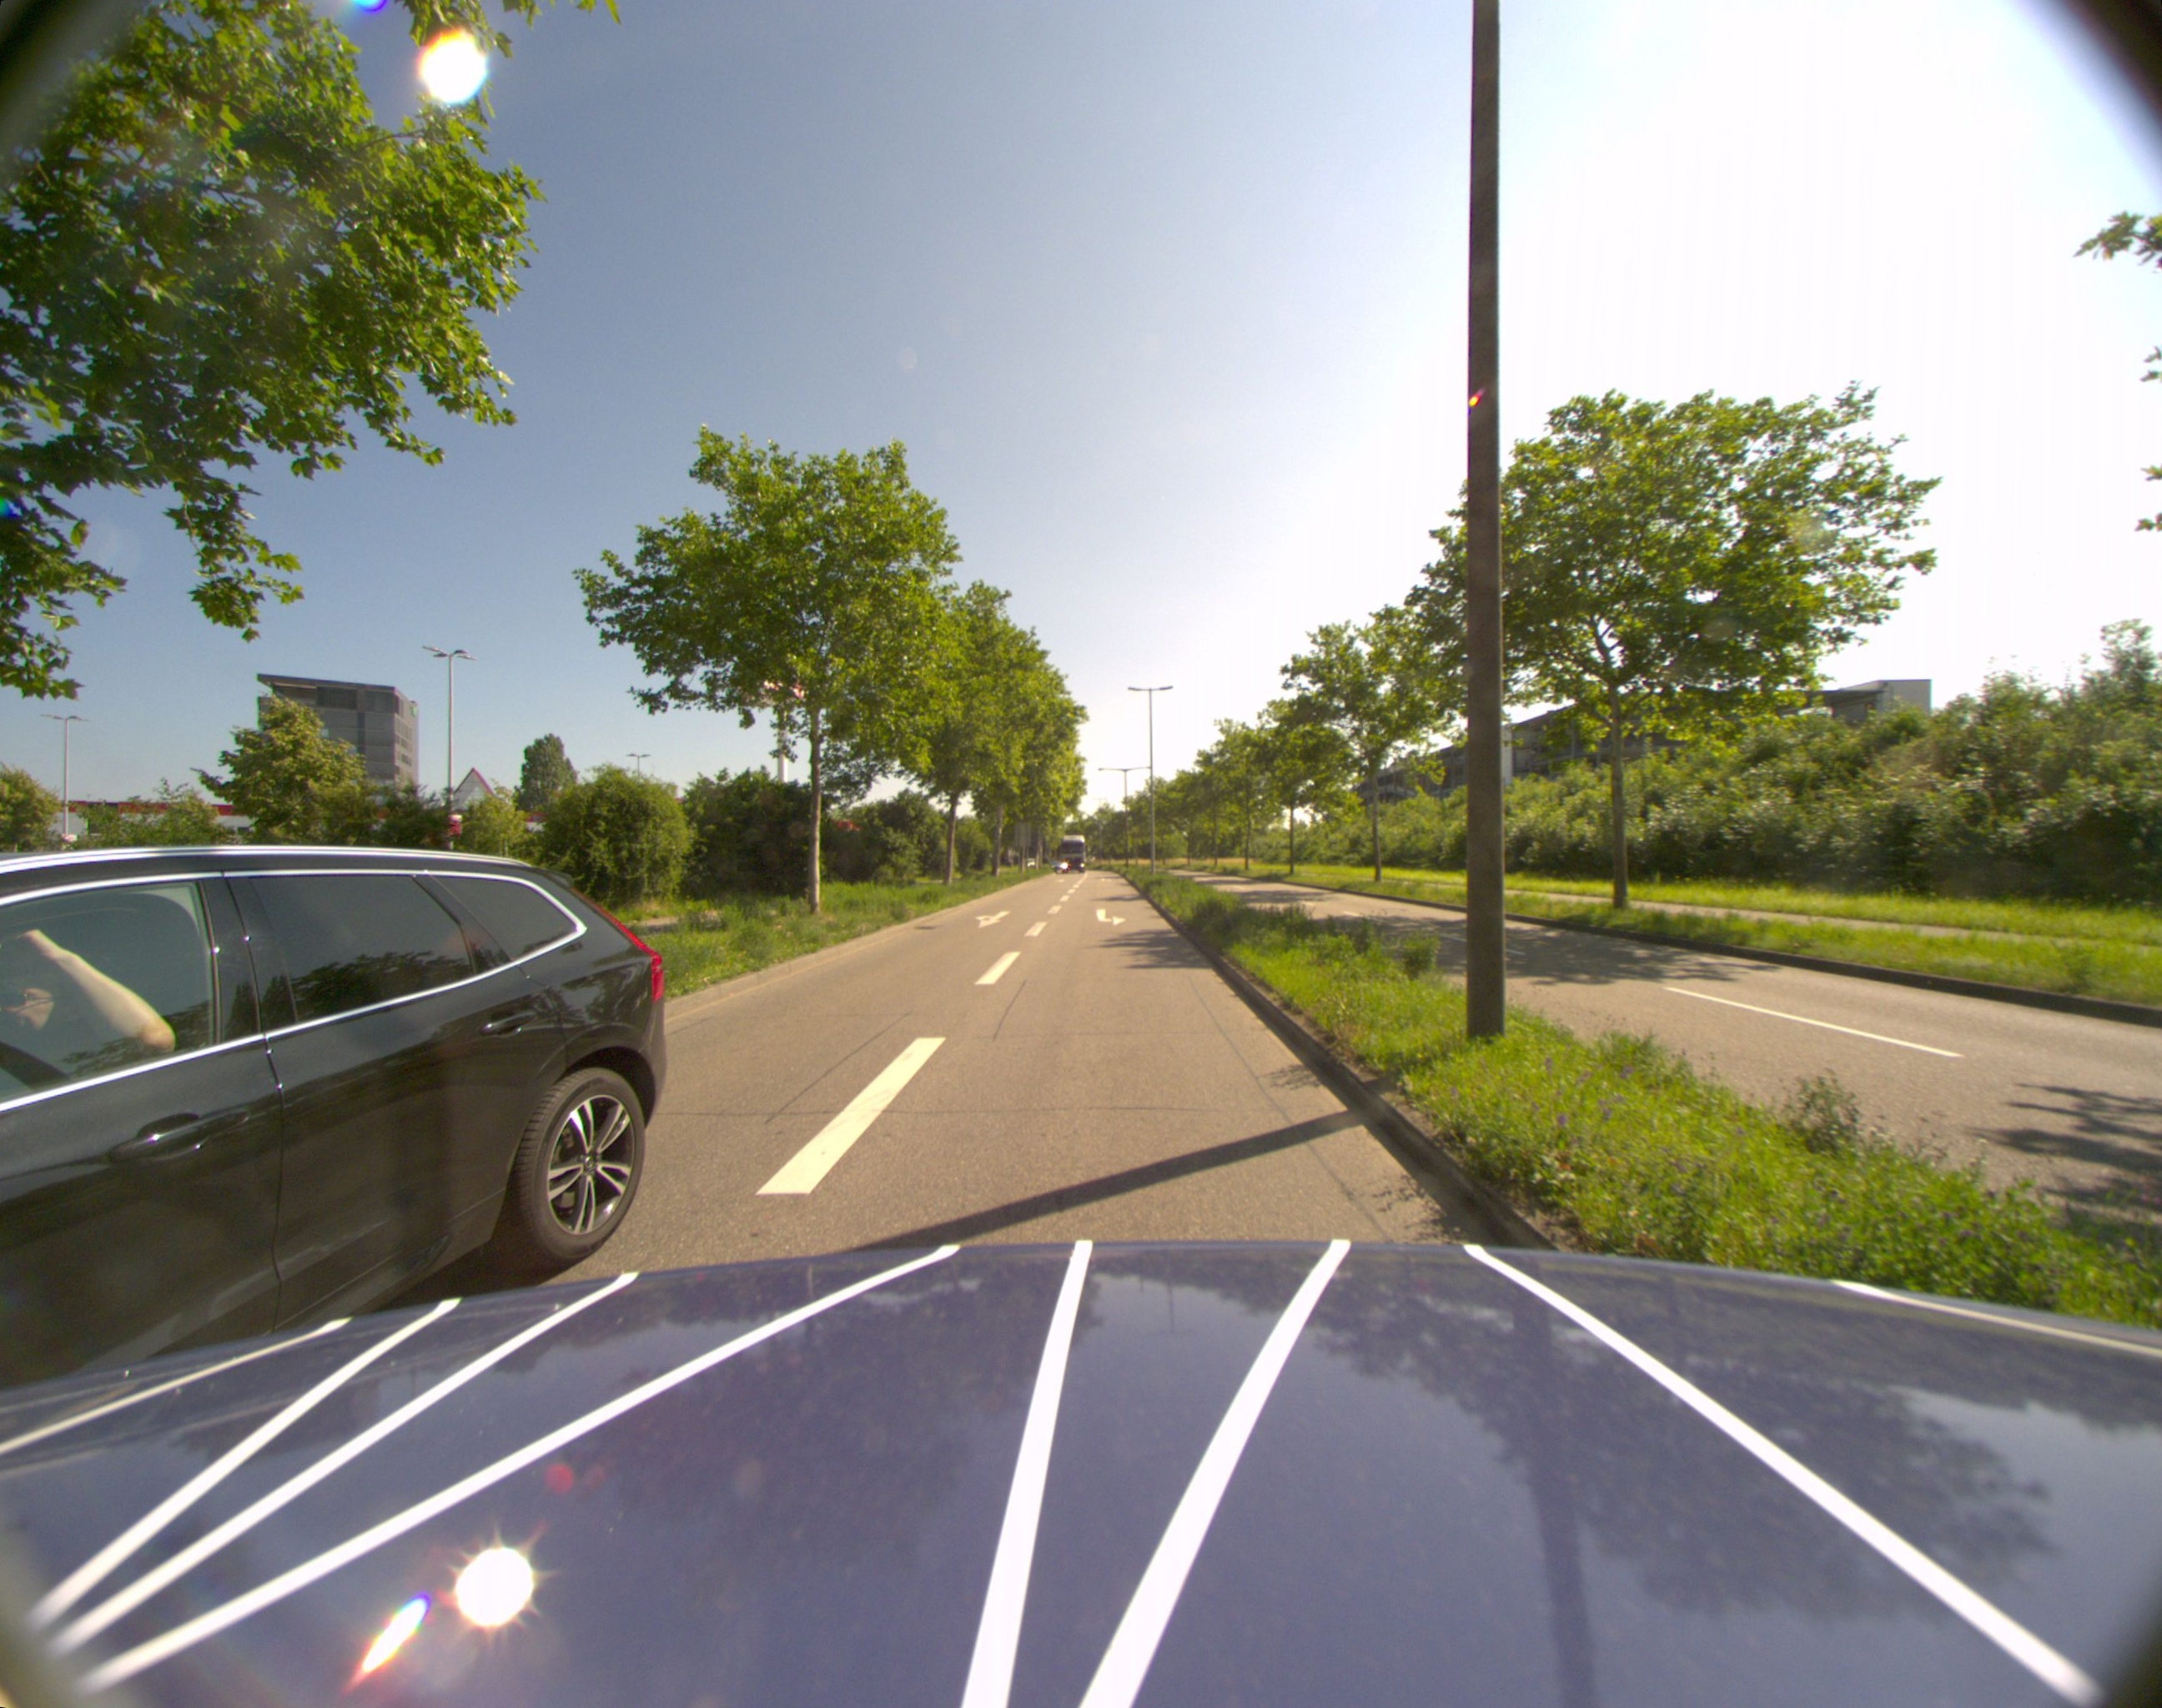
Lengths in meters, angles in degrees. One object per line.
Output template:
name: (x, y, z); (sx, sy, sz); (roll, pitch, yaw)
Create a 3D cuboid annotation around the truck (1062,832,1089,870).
truck: (-0.528, -0.300, 81.237); (2.741, 3.872, 5.851); (-2, 1, 0)

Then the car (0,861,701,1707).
car: (-2.883, 0.882, 1.461); (1.924, 1.613, 4.564); (-2, 0, 1)

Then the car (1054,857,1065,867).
car: (-3.113, 1.195, 111.844); (1.509, 1.349, 3.313); (-2, 0, -1)
